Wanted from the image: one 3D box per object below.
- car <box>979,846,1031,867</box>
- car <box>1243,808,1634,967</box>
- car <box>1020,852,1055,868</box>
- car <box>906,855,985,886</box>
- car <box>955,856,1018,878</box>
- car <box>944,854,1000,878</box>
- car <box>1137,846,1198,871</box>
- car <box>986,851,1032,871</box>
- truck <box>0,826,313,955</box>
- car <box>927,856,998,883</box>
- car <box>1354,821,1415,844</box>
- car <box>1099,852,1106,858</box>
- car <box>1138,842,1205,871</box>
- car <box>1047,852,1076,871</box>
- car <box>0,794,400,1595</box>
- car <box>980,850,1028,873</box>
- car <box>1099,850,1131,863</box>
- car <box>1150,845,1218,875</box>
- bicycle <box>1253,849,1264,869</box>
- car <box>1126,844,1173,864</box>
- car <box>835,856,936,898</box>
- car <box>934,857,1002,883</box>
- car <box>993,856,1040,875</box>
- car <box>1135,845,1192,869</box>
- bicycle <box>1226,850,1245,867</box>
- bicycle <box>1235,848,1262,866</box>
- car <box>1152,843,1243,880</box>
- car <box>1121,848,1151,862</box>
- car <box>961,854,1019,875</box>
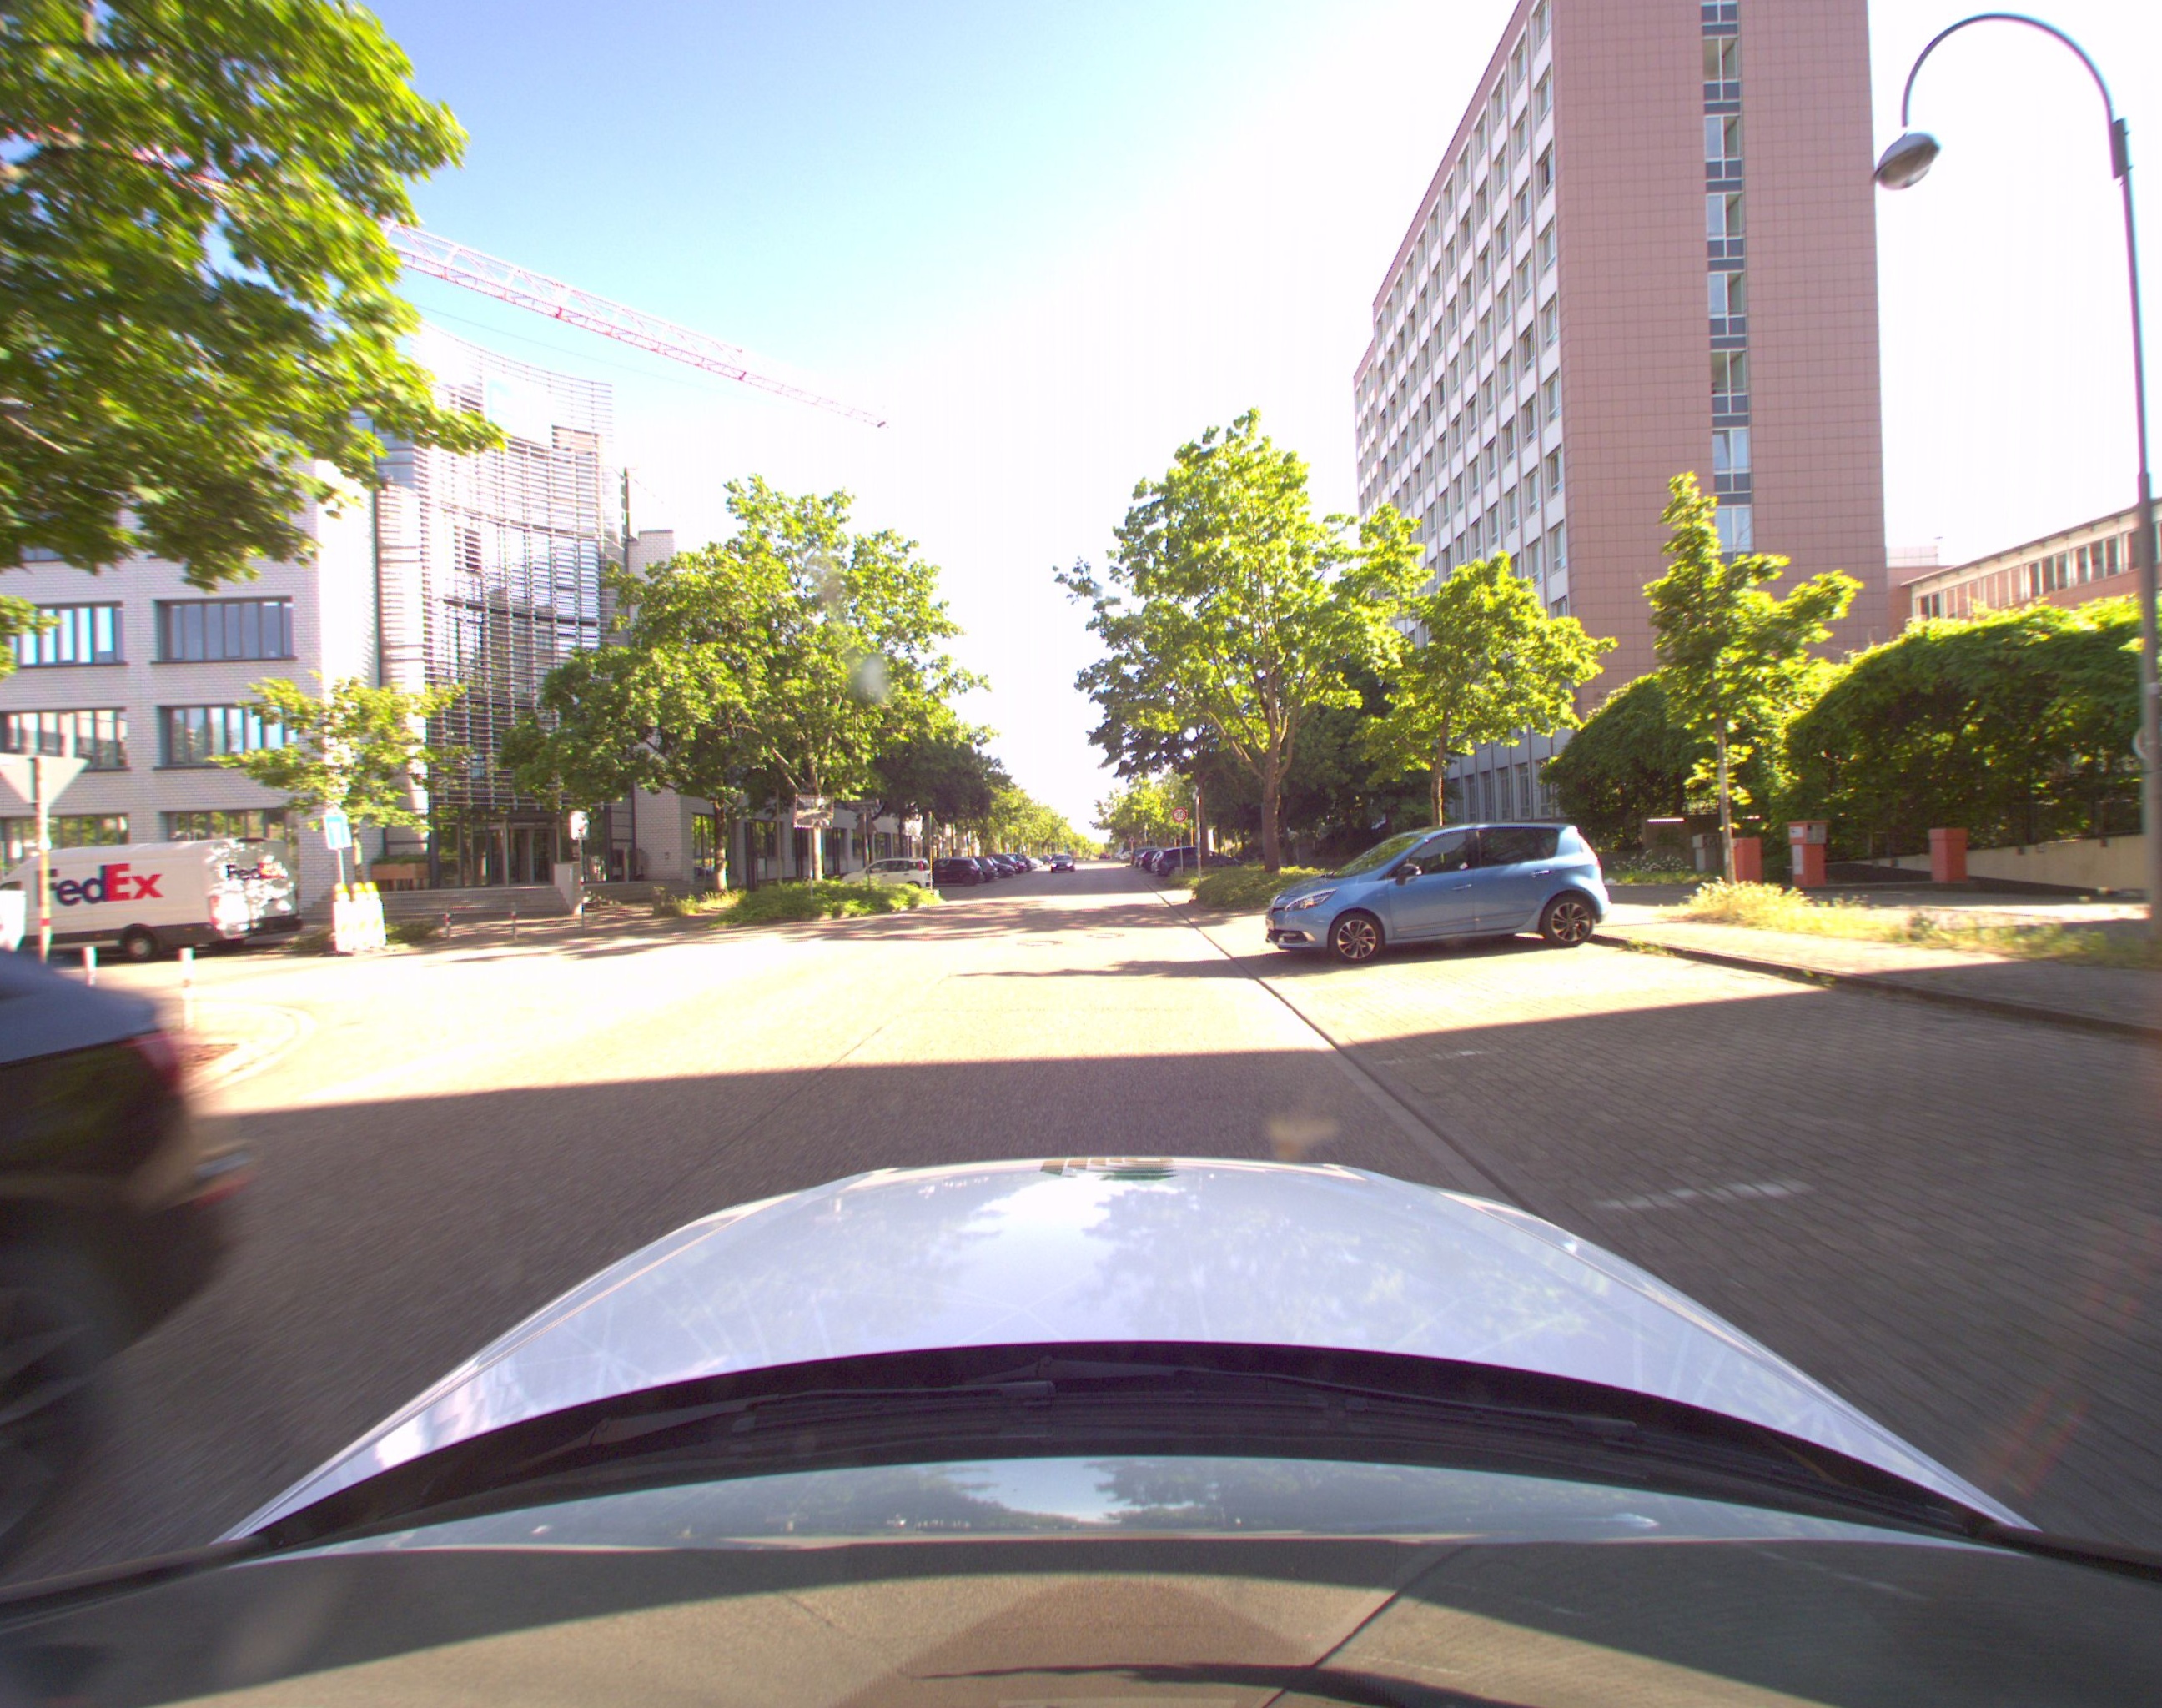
[{"bbox_3d":[-6.304,0.216,67.617,3.969,1.586,1.767,-3,-1,4],"label":"car"},{"bbox_3d":[4.629,0.410,11.073,4.390,1.618,1.912,-5,0,0],"label":"car"},{"bbox_3d":[-5.271,0.730,98.707,3.969,1.654,1.862,-3,0,4],"label":"car"},{"bbox_3d":[-6.918,0.827,41.950,3.720,1.464,1.676,-2,0,0],"label":"car"},{"bbox_3d":[-6.225,0.845,53.819,3.974,1.412,1.665,-1,-1,-1],"label":"car"},{"bbox_3d":[-6.896,0.739,51.739,3.412,1.463,1.694,-1,1,-4],"label":"car"},{"bbox_3d":[6.083,0.314,57.684,4.038,1.591,1.547,-2,0,-6],"label":"car"},{"bbox_3d":[-6.630,0.632,75.240,3.969,1.654,1.862,-3,0,4],"label":"car"},{"bbox_3d":[-22.697,0.846,19.441,6.085,2.704,2.577,-2,0,-1],"label":"truck"},{"bbox_3d":[-6.749,0.876,46.595,3.748,1.445,1.632,0,0,1],"label":"car"},{"bbox_3d":[23.926,-1.693,64.245,4.062,1.783,1.998,0,0,-3],"label":"car"},{"bbox_3d":[6.108,0.242,227.744,1.926,1.597,4.367,-2,0,1],"label":"car"},{"bbox_3d":[6.026,0.155,54.312,4.227,1.554,1.923,-5,0,6],"label":"car"},{"bbox_3d":[-1.506,0.575,65.146,1.804,1.415,4.113,-2,0,5],"label":"car"},{"bbox_3d":[-3.235,0.750,0.521,1.886,1.684,4.351,-2,0,0],"label":"car"},{"bbox_3d":[-6.081,0.572,64.363,3.526,1.657,1.762,-2,-1,3],"label":"car"},{"bbox_3d":[4.371,0.321,106.270,3.979,1.624,1.997,-2,0,-4],"label":"car"},{"bbox_3d":[5.835,0.340,46.512,3.623,1.467,1.633,-3,0,0],"label":"car"},{"bbox_3d":[9.889,0.273,45.382,0.377,1.047,1.888,-4,0,7],"label":"bicycle"},{"bbox_3d":[6.095,0.008,72.746,3.884,1.656,1.856,-2,0,-3],"label":"car"},{"bbox_3d":[-7.701,0.922,32.339,3.570,1.549,1.636,-2,-3,-1],"label":"car"},{"bbox_3d":[-6.812,0.937,49.405,3.855,1.457,1.753,-1,1,-2],"label":"car"},{"bbox_3d":[-5.611,0.988,71.450,3.879,1.464,1.858,-2,0,0],"label":"car"},{"bbox_3d":[6.117,0.218,60.704,4.034,1.491,1.548,-3,0,-3],"label":"car"},{"bbox_3d":[10.371,0.311,54.720,0.380,1.078,1.775,-2,0,-19],"label":"bicycle"},{"bbox_3d":[10.421,0.202,50.732,0.382,1.078,1.766,-2,0,-40],"label":"bicycle"},{"bbox_3d":[5.824,0.367,41.125,4.255,1.633,1.857,-3,0,-1],"label":"car"},{"bbox_3d":[7.622,0.152,112.936,3.979,1.792,1.997,-2,0,-4],"label":"car"},{"bbox_3d":[-6.313,0.696,56.818,3.982,1.406,1.602,0,0,-6],"label":"car"}]
